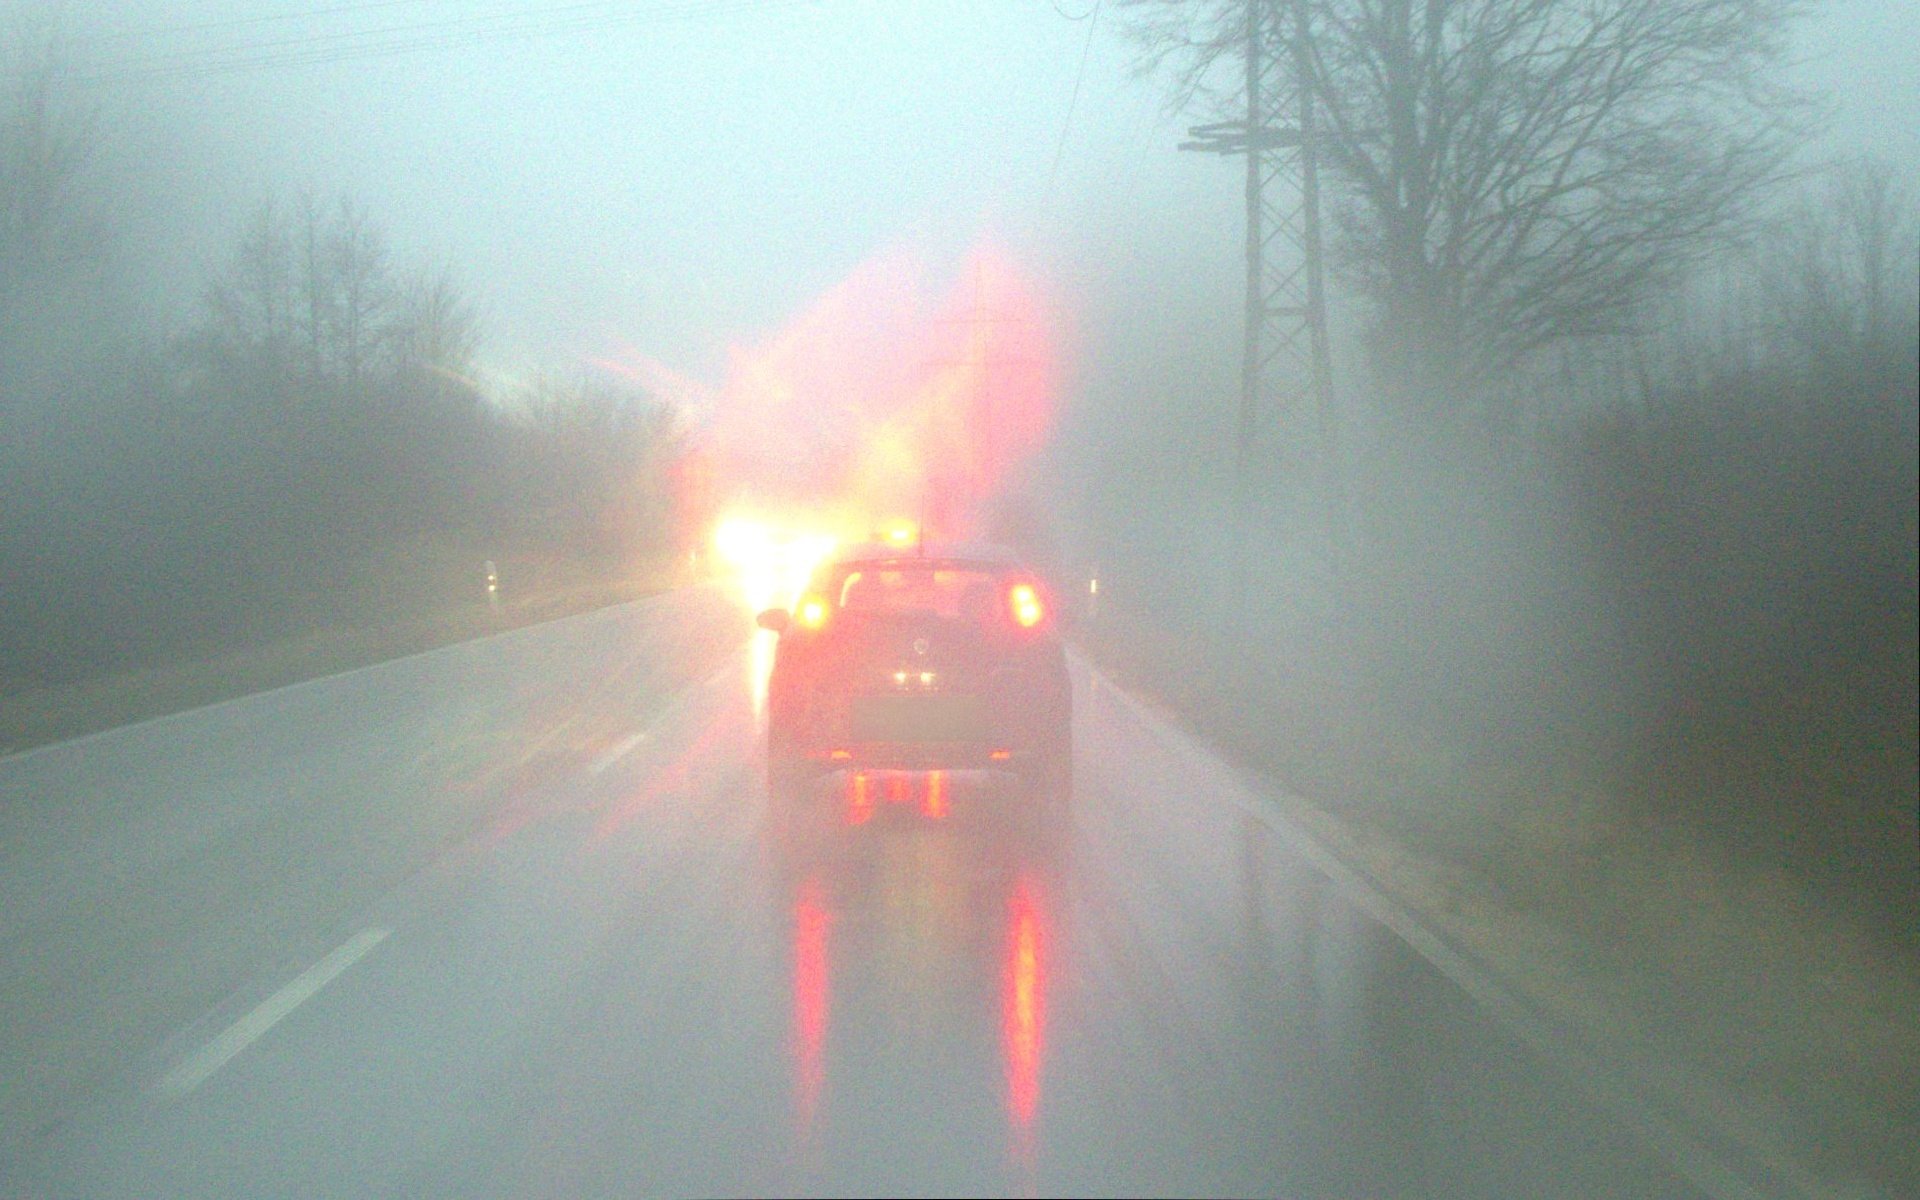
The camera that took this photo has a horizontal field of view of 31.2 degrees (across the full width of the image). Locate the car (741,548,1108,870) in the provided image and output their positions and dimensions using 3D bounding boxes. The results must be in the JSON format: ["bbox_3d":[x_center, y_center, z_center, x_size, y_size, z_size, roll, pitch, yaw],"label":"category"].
[{"bbox_3d":[-0.225,0.568,20.807,1.993,1.746,4.000,0,1,-1],"label":"car"}]

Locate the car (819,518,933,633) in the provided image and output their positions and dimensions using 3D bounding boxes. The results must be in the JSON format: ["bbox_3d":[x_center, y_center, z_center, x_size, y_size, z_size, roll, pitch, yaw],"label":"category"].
[{"bbox_3d":[-1.525,-0.473,63.475,1.993,2.007,4.000,-1,1,-1],"label":"car"}]
